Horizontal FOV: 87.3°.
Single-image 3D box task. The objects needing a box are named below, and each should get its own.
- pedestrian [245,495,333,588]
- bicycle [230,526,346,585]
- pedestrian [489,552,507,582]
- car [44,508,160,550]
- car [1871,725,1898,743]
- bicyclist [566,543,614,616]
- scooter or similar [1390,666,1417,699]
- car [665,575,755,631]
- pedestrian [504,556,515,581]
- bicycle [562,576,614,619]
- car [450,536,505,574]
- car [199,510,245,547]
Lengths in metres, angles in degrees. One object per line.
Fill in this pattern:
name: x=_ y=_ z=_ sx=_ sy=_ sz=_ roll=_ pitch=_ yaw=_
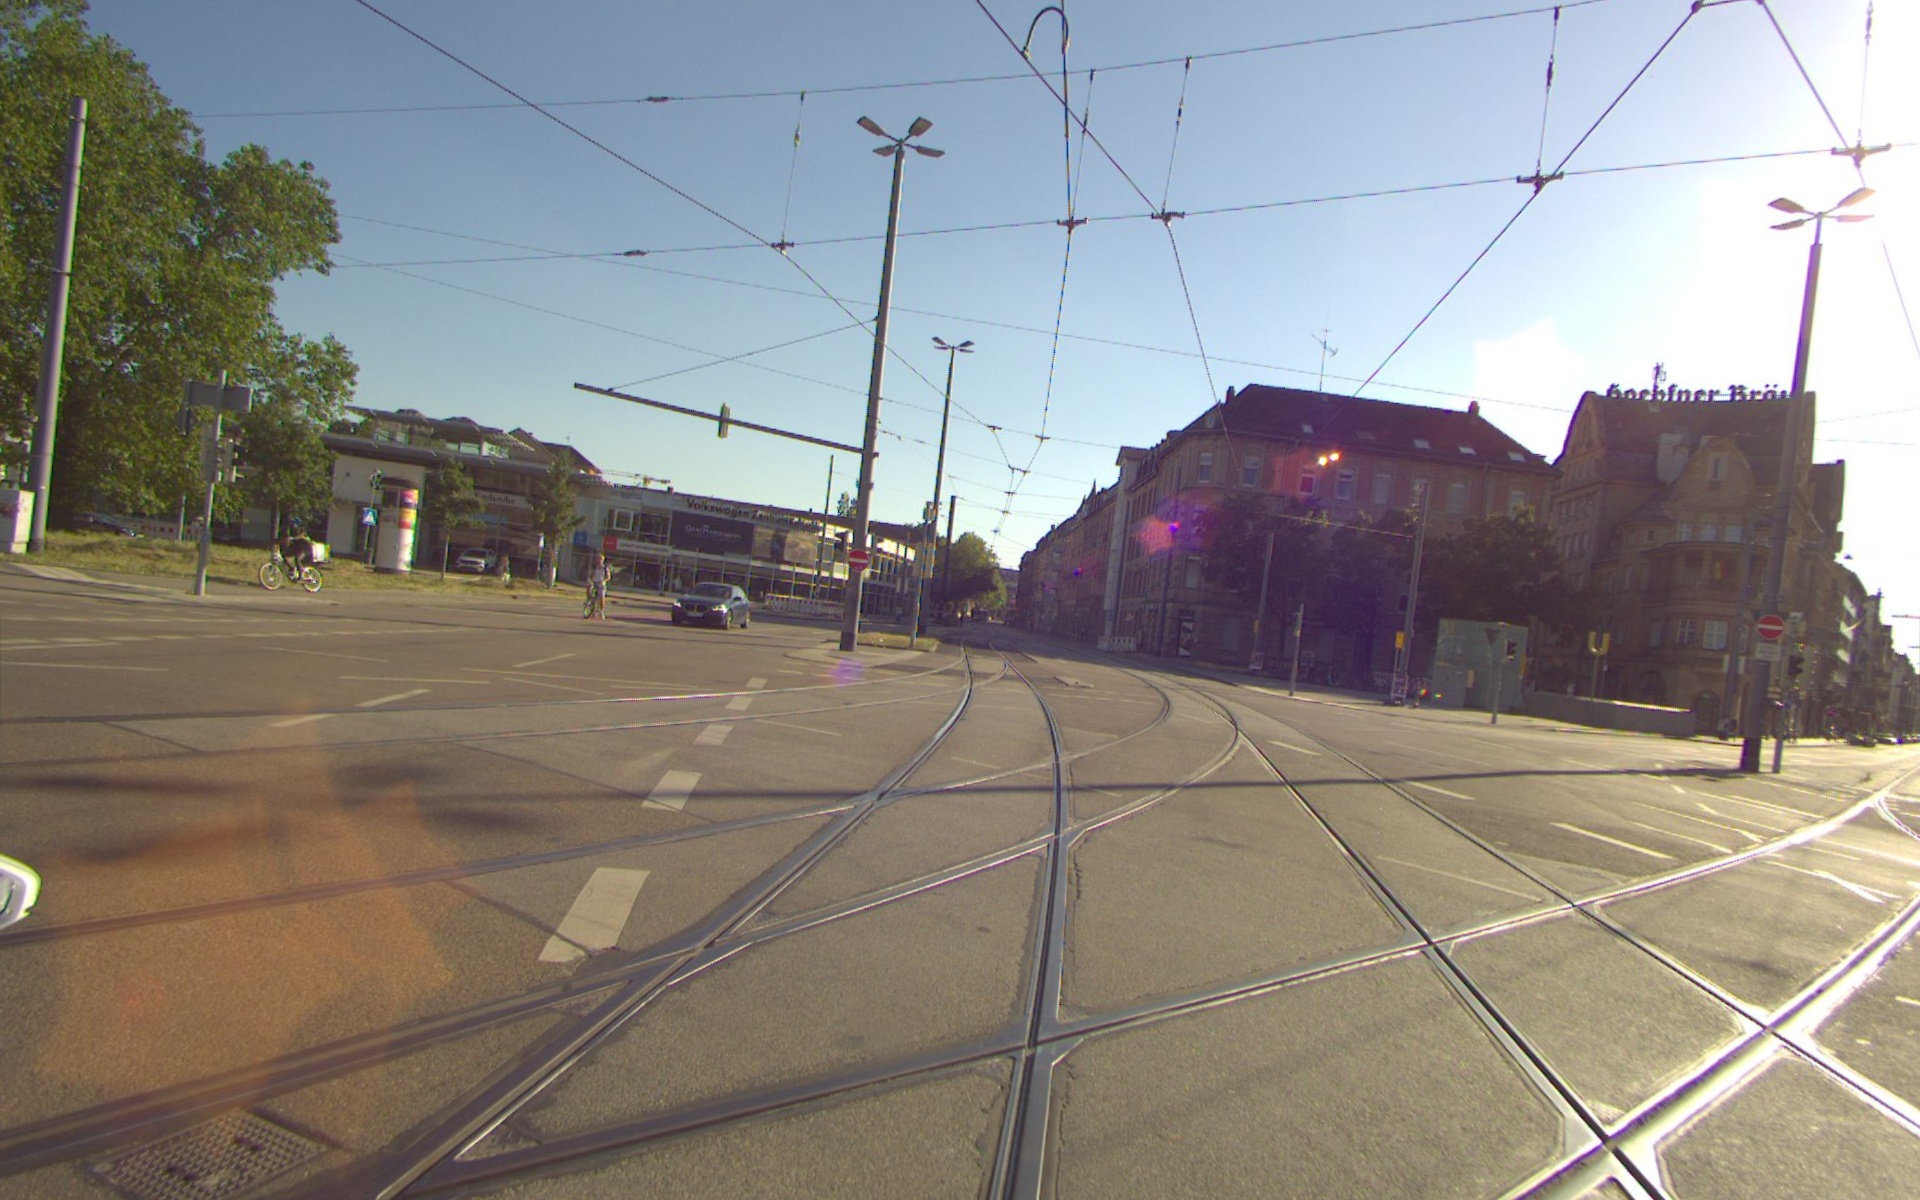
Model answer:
pedestrian: x=-16.517 y=-1.416 z=24.792 sx=1.015 sy=2.037 sz=1.270 roll=9 pitch=0 yaw=-1
bicycle: x=-16.569 y=-1.062 z=24.915 sx=1.016 sy=1.136 sz=2.531 roll=10 pitch=-1 yaw=0
pedestrian: x=-25.255 y=-1.803 z=55.015 sx=0.714 sy=1.534 sz=0.827 roll=7 pitch=0 yaw=-23
car: x=-44.174 y=-3.638 z=51.889 sx=4.102 sy=1.352 sz=1.750 roll=10 pitch=-1 yaw=-11
car: x=126.440 y=18.306 z=137.673 sx=1.968 sy=2.037 sz=3.992 roll=9 pitch=-1 yaw=36
bicyclist: x=-10.972 y=-0.594 z=29.855 sx=1.017 sy=2.039 sz=1.142 roll=5 pitch=1 yaw=-12
scooter or similar: x=18.009 y=3.333 z=40.850 sx=0.717 sy=1.215 sz=1.446 roll=8 pitch=0 yaw=19
car: x=-8.061 y=0.095 z=32.844 sx=1.964 sy=1.470 sz=3.998 roll=7 pitch=0 yaw=-3
pedestrian: x=-24.725 y=-1.716 z=55.253 sx=0.406 sy=1.331 sz=0.570 roll=7 pitch=1 yaw=-23
bicycle: x=-11.067 y=-0.090 z=30.033 sx=1.017 sy=1.137 sz=2.525 roll=5 pitch=0 yaw=-12
car: x=-31.353 y=-2.883 z=65.504 sx=1.969 sy=2.037 sz=3.992 roll=10 pitch=-1 yaw=-11
car: x=-45.356 y=-4.413 z=61.768 sx=1.790 sy=1.528 sz=3.949 roll=10 pitch=3 yaw=-42
